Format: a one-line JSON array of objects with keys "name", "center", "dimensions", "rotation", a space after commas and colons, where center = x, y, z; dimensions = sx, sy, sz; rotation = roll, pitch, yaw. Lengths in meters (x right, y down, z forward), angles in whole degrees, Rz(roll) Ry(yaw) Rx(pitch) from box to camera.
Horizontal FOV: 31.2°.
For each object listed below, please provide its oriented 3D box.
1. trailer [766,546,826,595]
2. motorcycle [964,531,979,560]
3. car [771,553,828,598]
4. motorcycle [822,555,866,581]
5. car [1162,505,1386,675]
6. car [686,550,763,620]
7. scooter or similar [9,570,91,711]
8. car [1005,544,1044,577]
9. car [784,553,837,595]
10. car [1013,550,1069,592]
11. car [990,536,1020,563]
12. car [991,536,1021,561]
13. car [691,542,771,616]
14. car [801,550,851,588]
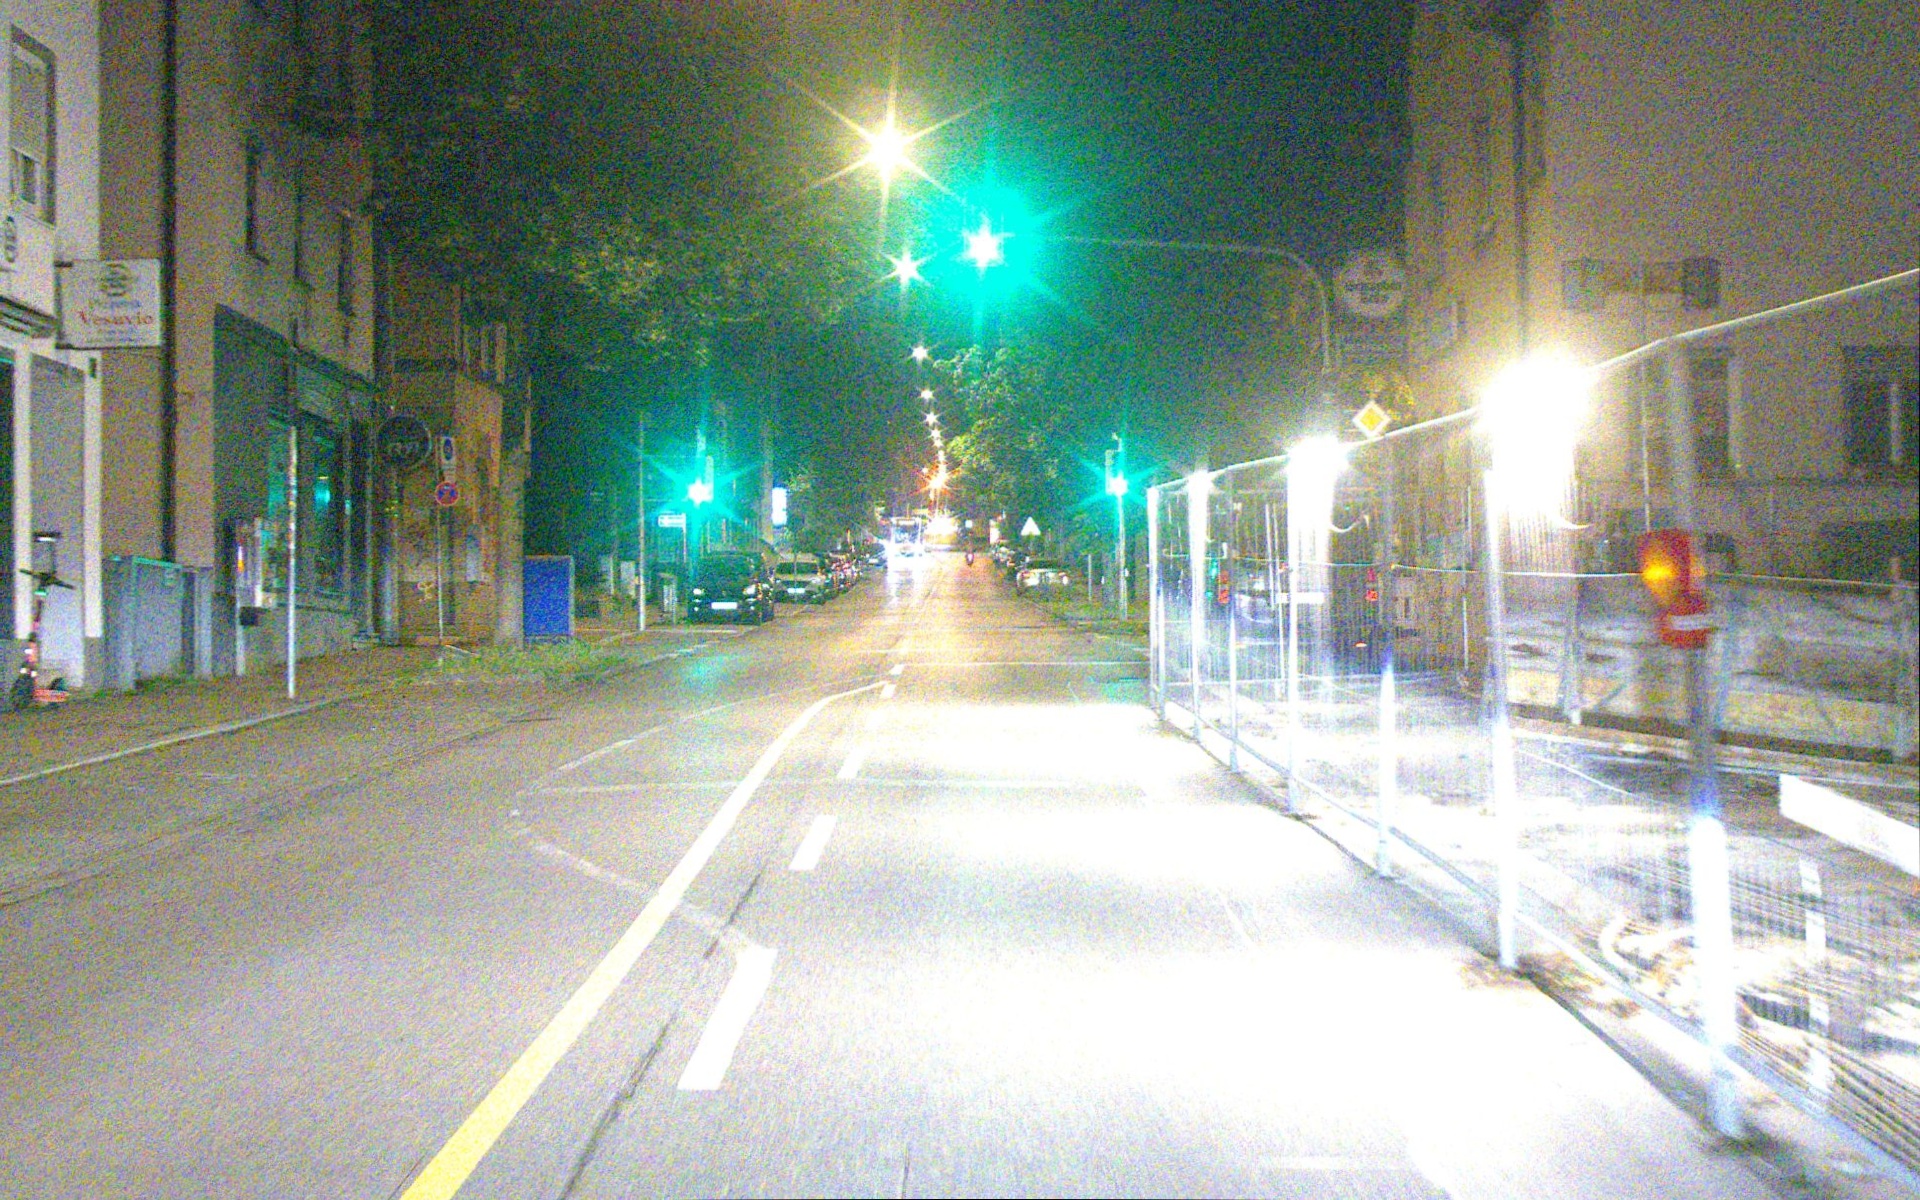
[{"name": "trailer", "center": [-5.637, -1.002, 118.478], "dimensions": [1.638, 1.634, 3.438], "rotation": [1, 0, 5]}, {"name": "motorcycle", "center": [0.702, -3.353, 213.135], "dimensions": [0.931, 1.746, 2.625], "rotation": [1, 0, 0]}, {"name": "car", "center": [-5.292, -0.822, 113.865], "dimensions": [1.814, 1.479, 4.348], "rotation": [0, 1, -2]}, {"name": "motorcycle", "center": [-5.211, -1.449, 154.726], "dimensions": [0.714, 1.143, 2.208], "rotation": [-2, 2, -42]}, {"name": "car", "center": [3.533, -0.145, 39.550], "dimensions": [1.911, 1.820, 4.901], "rotation": [0, 1, -2]}, {"name": "car", "center": [-5.208, -0.336, 76.070], "dimensions": [1.647, 1.509, 3.702], "rotation": [1, 0, -4]}, {"name": "scooter or similar", "center": [-8.073, 0.347, 30.532], "dimensions": [0.331, 1.221, 1.335], "rotation": [1, 0, 2]}, {"name": "car", "center": [3.092, -1.897, 165.668], "dimensions": [1.763, 1.471, 4.080], "rotation": [-2, 2, 0]}, {"name": "car", "center": [-5.392, -0.953, 124.437], "dimensions": [1.835, 1.442, 4.545], "rotation": [-1, 1, -1]}, {"name": "car", "center": [2.966, -1.072, 127.230], "dimensions": [1.845, 1.412, 4.645], "rotation": [-3, 0, -1]}, {"name": "car", "center": [2.789, -3.156, 214.599], "dimensions": [1.812, 1.588, 4.274], "rotation": [-2, 2, 0]}, {"name": "car", "center": [3.042, -3.435, 227.831], "dimensions": [1.868, 1.521, 4.150], "rotation": [-2, 2, 0]}, {"name": "car", "center": [-5.464, -0.524, 82.142], "dimensions": [1.848, 1.644, 4.672], "rotation": [1, 1, -4]}, {"name": "car", "center": [-5.372, -1.228, 138.150], "dimensions": [1.863, 1.486, 4.280], "rotation": [1, 0, -1]}]
